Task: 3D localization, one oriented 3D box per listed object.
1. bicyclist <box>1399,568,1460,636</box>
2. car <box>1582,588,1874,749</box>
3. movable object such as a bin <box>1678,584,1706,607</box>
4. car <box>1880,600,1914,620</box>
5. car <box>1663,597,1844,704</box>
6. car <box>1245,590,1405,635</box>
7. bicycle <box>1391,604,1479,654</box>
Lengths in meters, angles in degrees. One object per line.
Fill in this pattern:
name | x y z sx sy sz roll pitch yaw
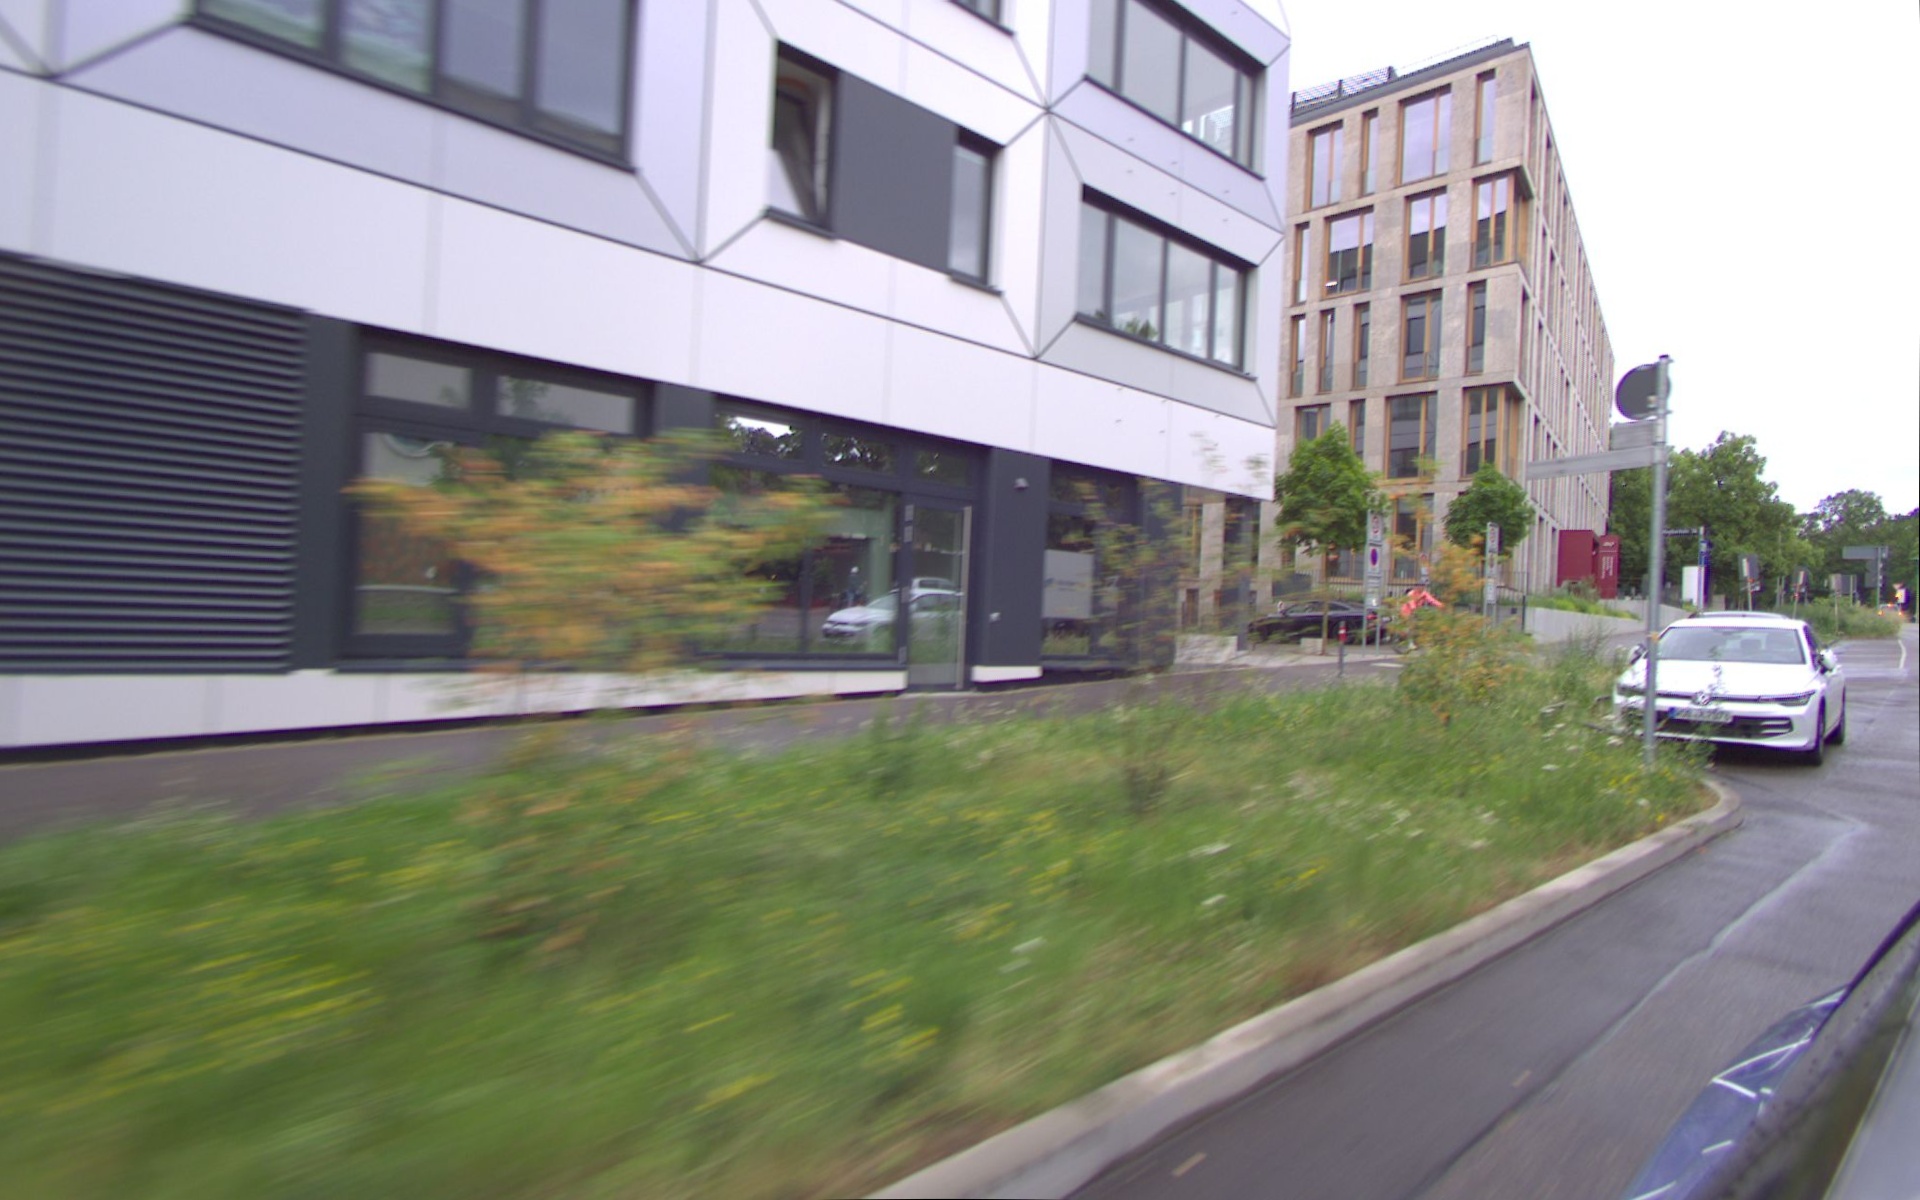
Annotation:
bicyclist | 10.756 0.030 23.203 0.823 1.522 1.077 0 0 -5
car | 8.908 0.606 11.582 4.428 1.483 2.041 0 1 -44
movable object such as a bin | 48.298 -0.301 66.784 1.092 1.476 1.247 -1 -2 -43
car | 90.508 0.936 97.788 1.890 1.726 4.450 0 1 37
car | 12.717 0.707 16.482 2.037 1.476 4.005 0 1 34
car | 10.958 0.335 30.587 1.701 1.260 4.232 -1 1 -44
bicycle | 10.771 0.633 23.066 0.613 1.033 2.486 1 1 -6
